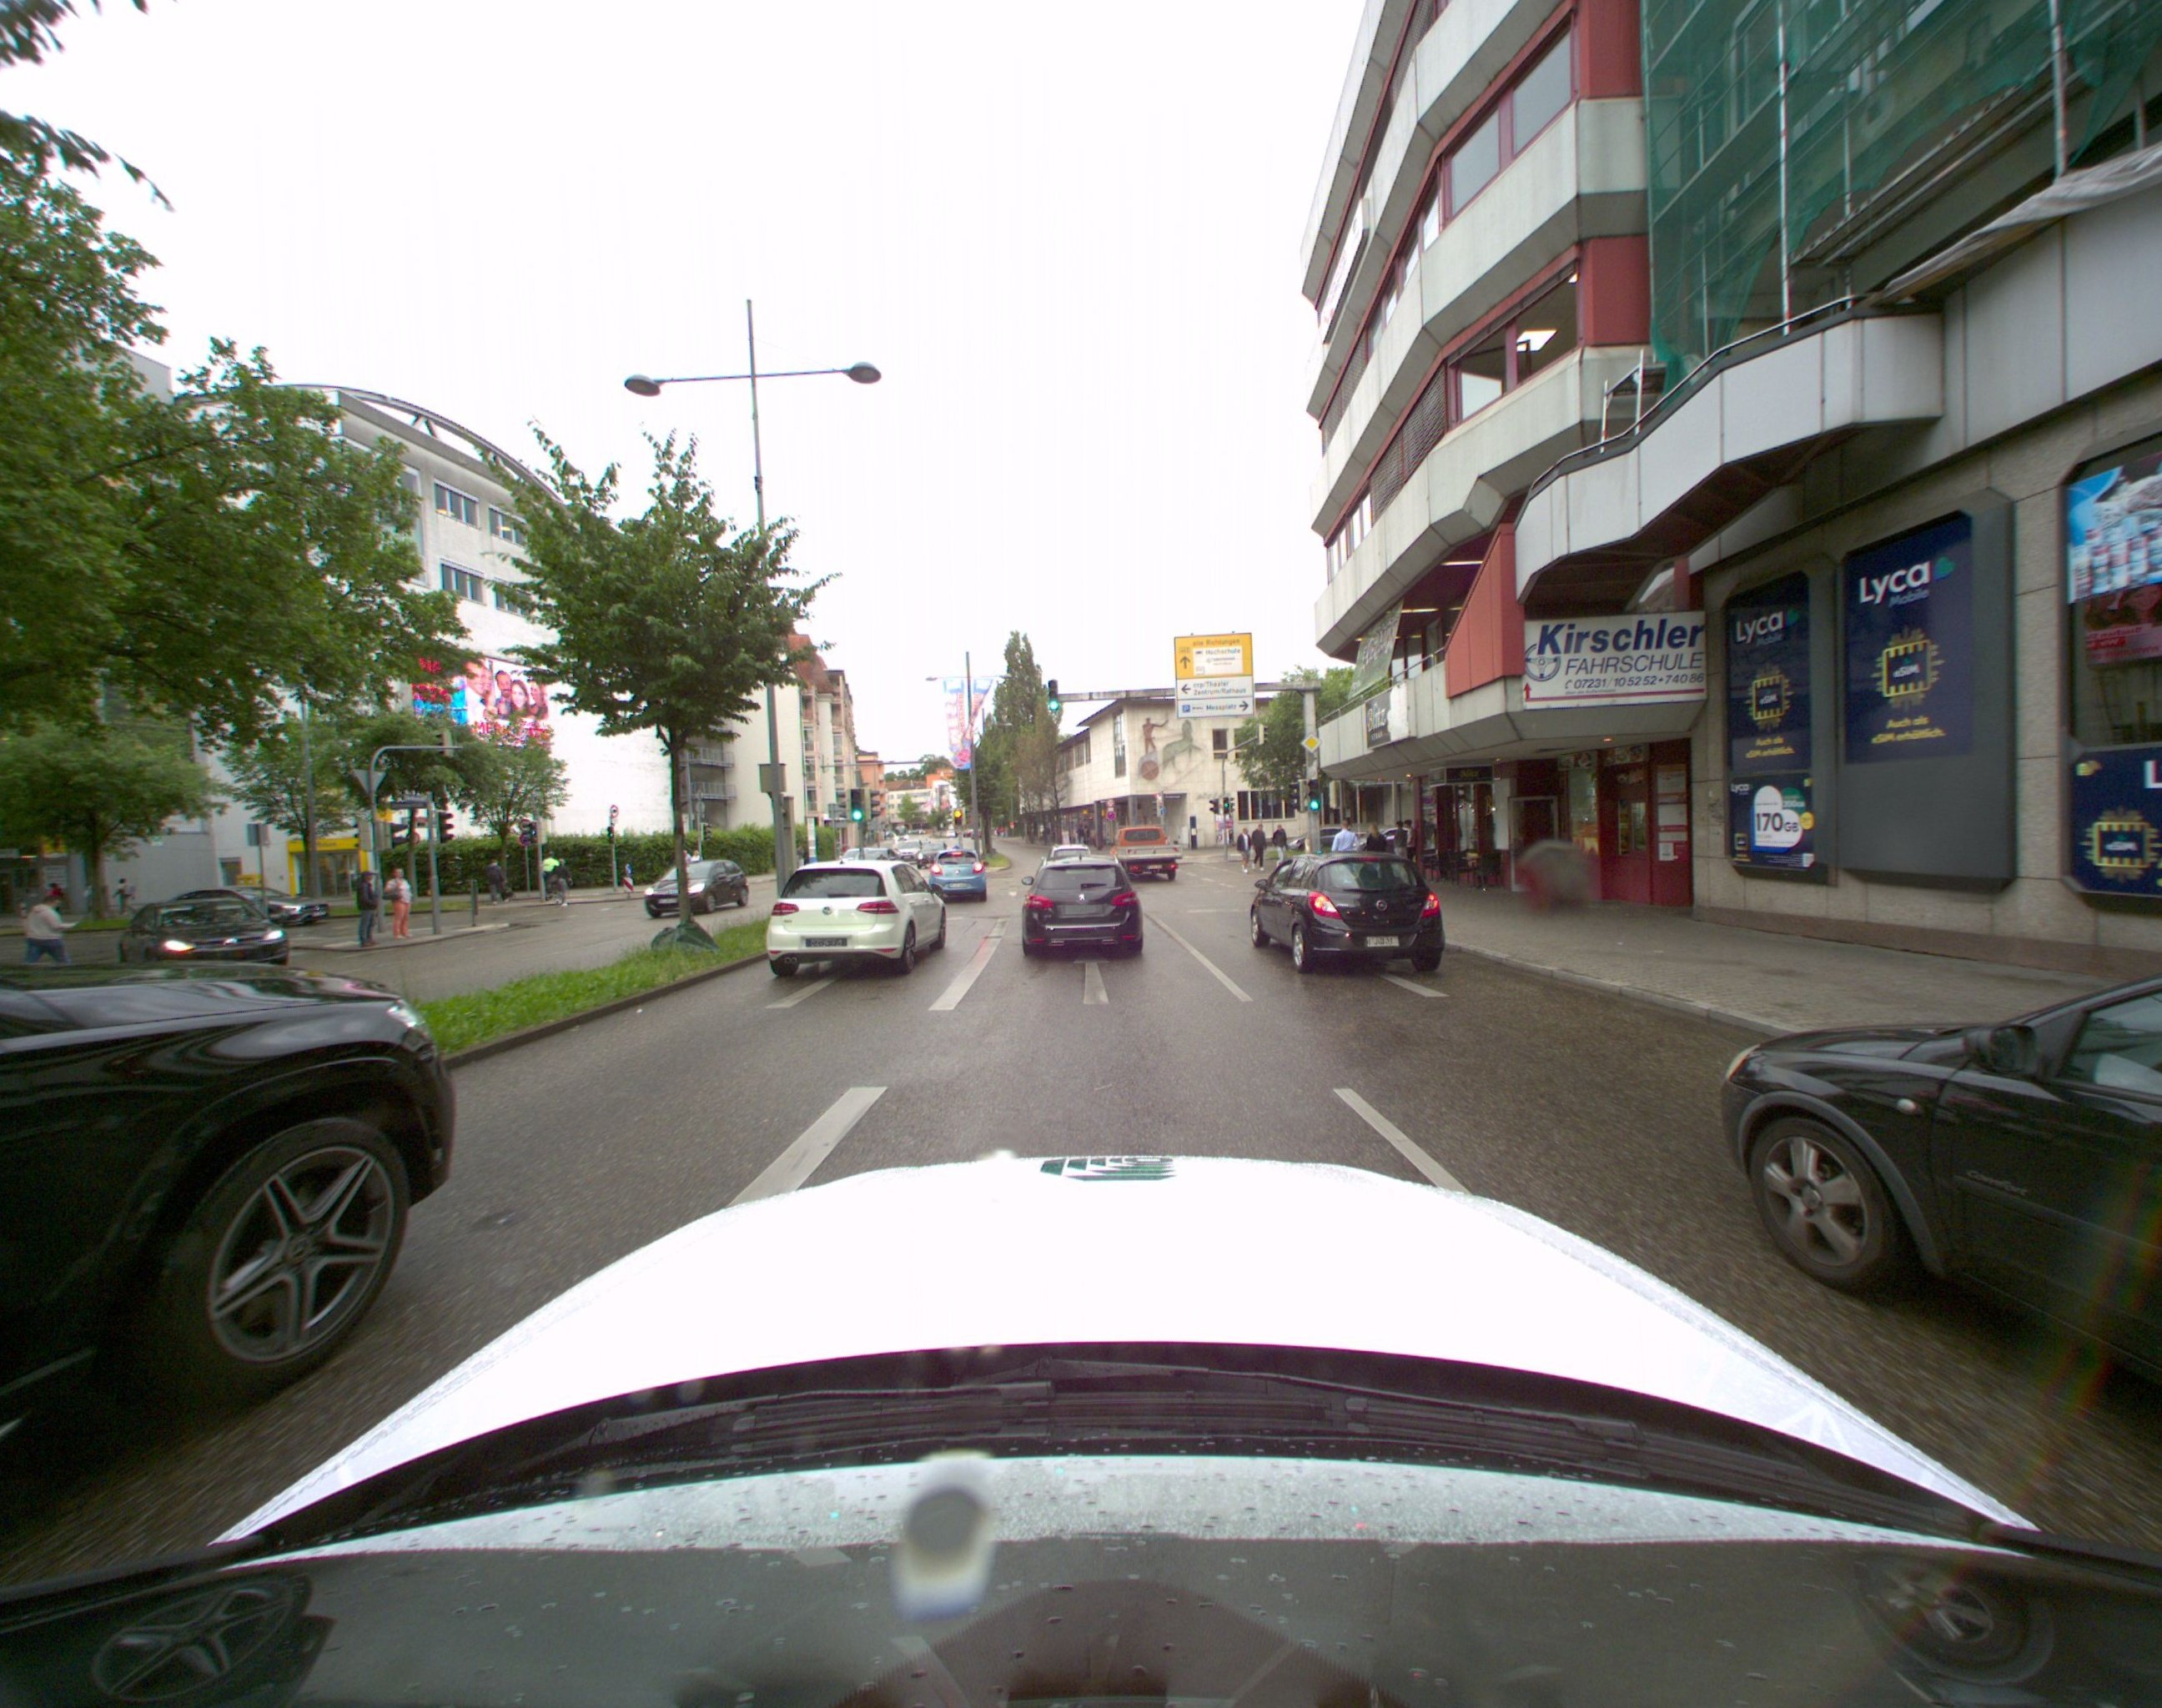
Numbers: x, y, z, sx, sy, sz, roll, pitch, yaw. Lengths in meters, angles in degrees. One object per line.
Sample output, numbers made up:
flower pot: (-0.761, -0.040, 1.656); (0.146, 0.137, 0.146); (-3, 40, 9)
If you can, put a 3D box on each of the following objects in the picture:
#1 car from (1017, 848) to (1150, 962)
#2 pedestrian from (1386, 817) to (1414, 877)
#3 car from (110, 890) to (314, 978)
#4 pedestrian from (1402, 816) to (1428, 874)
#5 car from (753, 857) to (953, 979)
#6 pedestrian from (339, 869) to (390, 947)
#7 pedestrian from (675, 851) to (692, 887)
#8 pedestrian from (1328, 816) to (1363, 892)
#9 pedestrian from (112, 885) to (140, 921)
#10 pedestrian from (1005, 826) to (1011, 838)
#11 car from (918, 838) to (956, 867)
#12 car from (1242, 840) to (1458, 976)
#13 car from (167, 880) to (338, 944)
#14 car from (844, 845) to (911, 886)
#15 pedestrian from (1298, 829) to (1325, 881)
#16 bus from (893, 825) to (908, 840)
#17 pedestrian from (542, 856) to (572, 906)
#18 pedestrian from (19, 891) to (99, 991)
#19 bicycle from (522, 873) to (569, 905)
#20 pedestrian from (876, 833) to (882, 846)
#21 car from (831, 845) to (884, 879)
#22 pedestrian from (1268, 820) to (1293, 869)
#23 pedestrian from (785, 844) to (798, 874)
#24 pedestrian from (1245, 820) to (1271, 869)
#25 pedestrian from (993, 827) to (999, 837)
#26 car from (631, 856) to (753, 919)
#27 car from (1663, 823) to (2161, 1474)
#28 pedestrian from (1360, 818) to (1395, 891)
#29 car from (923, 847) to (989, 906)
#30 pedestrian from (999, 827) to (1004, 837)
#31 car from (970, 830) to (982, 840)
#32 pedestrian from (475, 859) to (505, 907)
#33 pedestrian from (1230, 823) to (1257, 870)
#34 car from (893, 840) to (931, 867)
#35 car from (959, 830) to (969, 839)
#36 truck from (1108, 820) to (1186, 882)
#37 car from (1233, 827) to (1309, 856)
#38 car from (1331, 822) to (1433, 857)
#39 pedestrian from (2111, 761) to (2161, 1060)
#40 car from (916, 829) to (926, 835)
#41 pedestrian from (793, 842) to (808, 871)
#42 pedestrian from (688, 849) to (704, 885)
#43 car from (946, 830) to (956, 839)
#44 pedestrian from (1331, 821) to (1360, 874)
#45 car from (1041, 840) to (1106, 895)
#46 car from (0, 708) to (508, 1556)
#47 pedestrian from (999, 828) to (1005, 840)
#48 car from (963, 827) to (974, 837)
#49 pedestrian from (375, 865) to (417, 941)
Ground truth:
car: (0.097, 0.682, 13.125); (1.788, 1.483, 4.002); (-1, 1, 2)
pedestrian: (9.670, -0.204, 24.678); (0.593, 1.763, 0.493); (-2, -1, 0)
car: (-17.601, 1.570, 16.453); (4.369, 1.396, 1.946); (-3, 1, 32)
pedestrian: (10.229, -0.274, 24.949); (0.524, 1.763, 0.511); (-2, -1, 0)
car: (-3.031, 0.770, 11.720); (1.759, 1.409, 3.999); (0, 0, 0)
pedestrian: (-16.884, 1.262, 19.194); (0.673, 1.763, 0.412); (-3, 3, -3)
pedestrian: (-20.036, 0.762, 41.046); (0.525, 1.764, 0.592); (0, 2, -2)
pedestrian: (6.608, 0.006, 20.374); (0.619, 1.847, 0.849); (-2, -1, 6)
pedestrian: (-43.381, 2.220, 36.993); (0.554, 1.600, 0.529); (-3, 1, 5)
pedestrian: (-11.092, -3.324, 123.720); (0.699, 1.801, 0.604); (-4, 2, -13)
car: (-8.490, -0.131, 48.261); (1.618, 1.555, 3.657); (-3, 2, -2)
car: (3.438, 0.585, 11.130); (1.702, 1.457, 3.742); (-1, 2, 0)
car: (-27.410, 1.885, 27.062); (3.589, 1.695, 1.632); (-4, 3, -9)
car: (-8.294, 0.433, 33.591); (1.708, 1.478, 3.956); (-5, 1, -1)
pedestrian: (7.743, 0.016, 27.369); (0.572, 1.663, 0.941); (-4, 2, 2)
bus: (-40.736, -4.953, 183.905); (2.748, 3.074, 12.180); (-3, 4, -14)
pedestrian: (-19.070, 0.981, 29.647); (0.646, 1.764, 0.591); (-2, -1, -5)
pedestrian: (-20.641, 1.736, 16.452); (0.816, 1.906, 0.866); (-3, -1, 30)
bicycle: (-21.709, 1.402, 33.075); (0.649, 1.110, 2.054); (-3, 2, -6)
pedestrian: (-29.030, -2.095, 116.986); (0.698, 1.793, 0.955); (-2, 1, -10)
car: (-11.669, 0.376, 42.668); (1.667, 1.515, 3.643); (-4, 1, 0)
pedestrian: (8.005, -0.371, 32.670); (0.730, 1.895, 0.676); (-3, 0, -1)
pedestrian: (-17.449, 0.310, 49.138); (0.526, 1.764, 0.630); (-2, -1, -4)
pedestrian: (7.129, -0.378, 32.822); (0.756, 1.901, 0.789); (-3, 0, -1)
pedestrian: (-13.542, -3.503, 129.531); (0.718, 1.619, 0.766); (-4, 2, -13)
car: (-11.250, 0.909, 23.880); (1.613, 1.491, 3.878); (-5, 1, -1)
car: (3.249, 0.687, 1.679); (1.586, 1.440, 3.630); (-2, 2, 2)
pedestrian: (7.384, 0.015, 20.286); (0.619, 1.773, 0.678); (-2, -1, 6)
car: (-3.647, 0.595, 24.141); (1.694, 1.474, 3.681); (-3, 1, -7)
pedestrian: (-12.649, -3.537, 129.668); (0.727, 1.589, 0.604); (-4, 2, -13)
car: (-16.711, -3.015, 129.509); (1.646, 1.564, 3.584); (0, -1, -12)
pedestrian: (-22.783, 1.113, 31.415); (0.644, 1.781, 0.799); (-4, -2, 45)
pedestrian: (6.355, -0.287, 31.852); (0.747, 1.779, 0.887); (-3, 0, -4)
car: (-12.042, -0.074, 58.361); (1.822, 1.736, 4.309); (-3, 1, -1)
car: (-22.717, -3.732, 157.664); (1.646, 1.564, 3.584); (0, -1, -12)
truck: (2.362, -0.151, 30.425); (2.118, 2.025, 4.708); (-3, 1, -4)
car: (10.480, -0.714, 45.158); (3.961, 1.476, 2.007); (-1, 1, 11)
car: (14.353, -0.715, 38.899); (4.265, 1.419, 1.780); (-3, 2, -13)
pedestrian: (6.807, 0.295, 4.532); (0.892, 1.779, 0.806); (-7, -1, 3)
car: (-49.500, -6.780, 251.482); (1.658, 1.564, 3.559); (0, -1, -37)
pedestrian: (-17.499, 0.165, 50.804); (0.640, 1.764, 0.591); (-2, -1, -4)
pedestrian: (-19.453, 0.657, 41.176); (0.525, 1.764, 0.592); (0, 0, -2)
car: (-24.698, -3.763, 154.233); (1.646, 1.564, 3.584); (0, -1, -12)
pedestrian: (8.911, -0.236, 27.450); (0.586, 1.706, 0.971); (-4, 2, 2)
car: (-0.316, 0.356, 26.099); (1.791, 1.483, 3.995); (-3, 2, -4)
car: (-3.269, 0.575, 0.754); (1.987, 1.778, 4.885); (0, -1, 0)
pedestrian: (-11.942, -3.092, 123.612); (0.654, 1.766, 0.919); (-4, 2, -13)
car: (-19.897, -3.927, 144.069); (1.646, 1.564, 3.584); (0, -1, -12)
pedestrian: (-17.019, 1.196, 20.233); (0.446, 1.837, 0.675); (-3, -1, -5)
